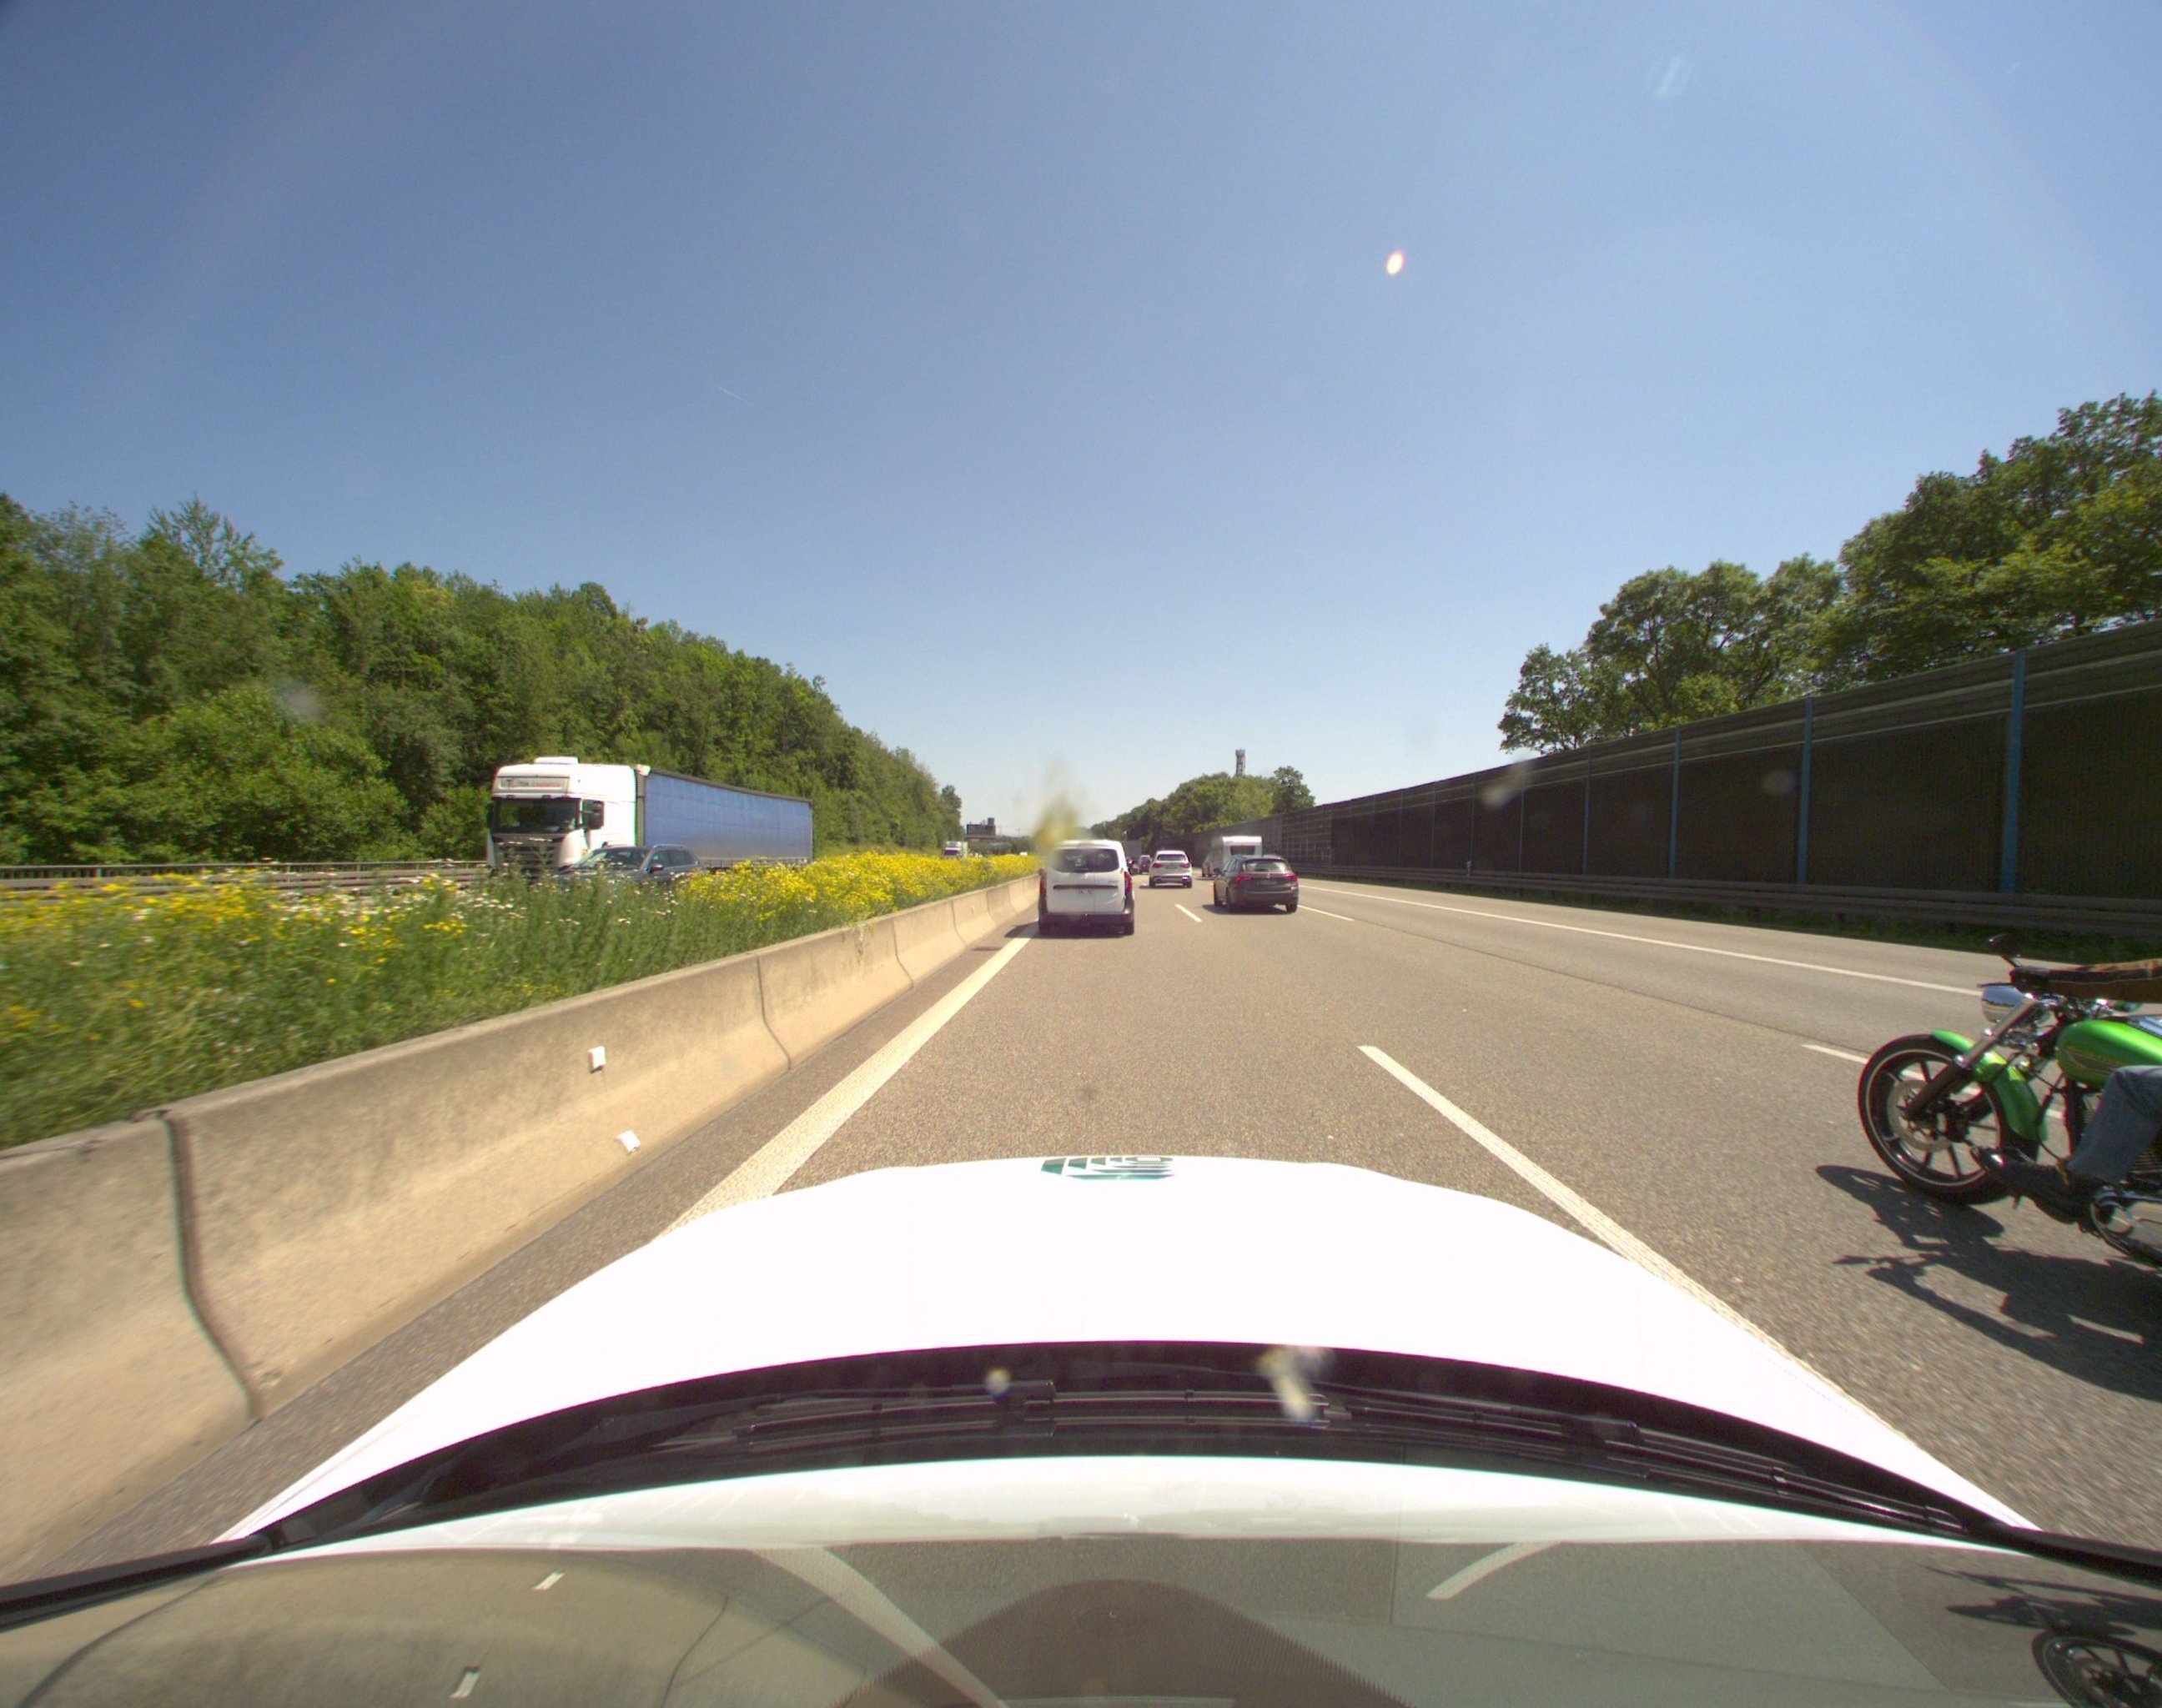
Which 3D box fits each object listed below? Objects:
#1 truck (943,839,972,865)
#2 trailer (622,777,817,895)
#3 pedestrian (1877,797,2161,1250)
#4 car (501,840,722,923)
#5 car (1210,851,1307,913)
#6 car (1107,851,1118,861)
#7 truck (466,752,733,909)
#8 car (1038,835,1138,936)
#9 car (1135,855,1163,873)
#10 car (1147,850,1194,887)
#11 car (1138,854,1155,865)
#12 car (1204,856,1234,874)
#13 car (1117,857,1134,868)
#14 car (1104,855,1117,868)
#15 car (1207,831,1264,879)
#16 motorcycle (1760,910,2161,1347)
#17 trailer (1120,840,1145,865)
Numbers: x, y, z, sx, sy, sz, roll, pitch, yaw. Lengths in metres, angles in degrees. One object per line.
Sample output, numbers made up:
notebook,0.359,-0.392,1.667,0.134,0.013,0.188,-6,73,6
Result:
truck,-17.069,-0.215,112.858,2.726,3.475,7.315,0,0,1
trailer,-13.467,-0.601,31.672,2.770,3.857,10.174,0,0,2
pedestrian,3.641,0.552,2.976,0.848,1.479,0.638,0,0,1
car,-9.868,0.521,17.670,1.986,1.562,4.641,0,0,1
car,4.708,0.671,22.189,1.831,1.513,4.403,0,0,2
car,6.837,0.448,175.197,1.989,2.014,3.996,0,0,-2
truck,-13.675,-0.588,24.297,2.738,3.857,8.416,0,0,2
car,0.191,0.579,16.659,1.795,1.808,4.002,0,0,2
car,5.530,0.824,66.898,1.820,1.424,3.996,0,0,-3
car,4.067,0.632,37.553,1.864,1.608,3.880,0,0,2
car,8.878,0.699,111.170,1.820,1.424,3.996,1,0,-3
car,11.281,0.928,66.851,1.818,1.424,3.999,0,0,-1
car,5.360,1.029,99.276,1.818,1.424,3.999,0,0,-1
car,4.605,1.154,128.408,1.819,1.989,3.997,1,0,-2
car,9.446,0.063,50.302,2.470,2.766,6.221,0,0,1
motorcycle,3.638,0.867,2.751,0.856,1.182,2.277,0,0,2
trailer,8.606,-0.150,136.580,3.074,3.985,10.313,0,0,-2
